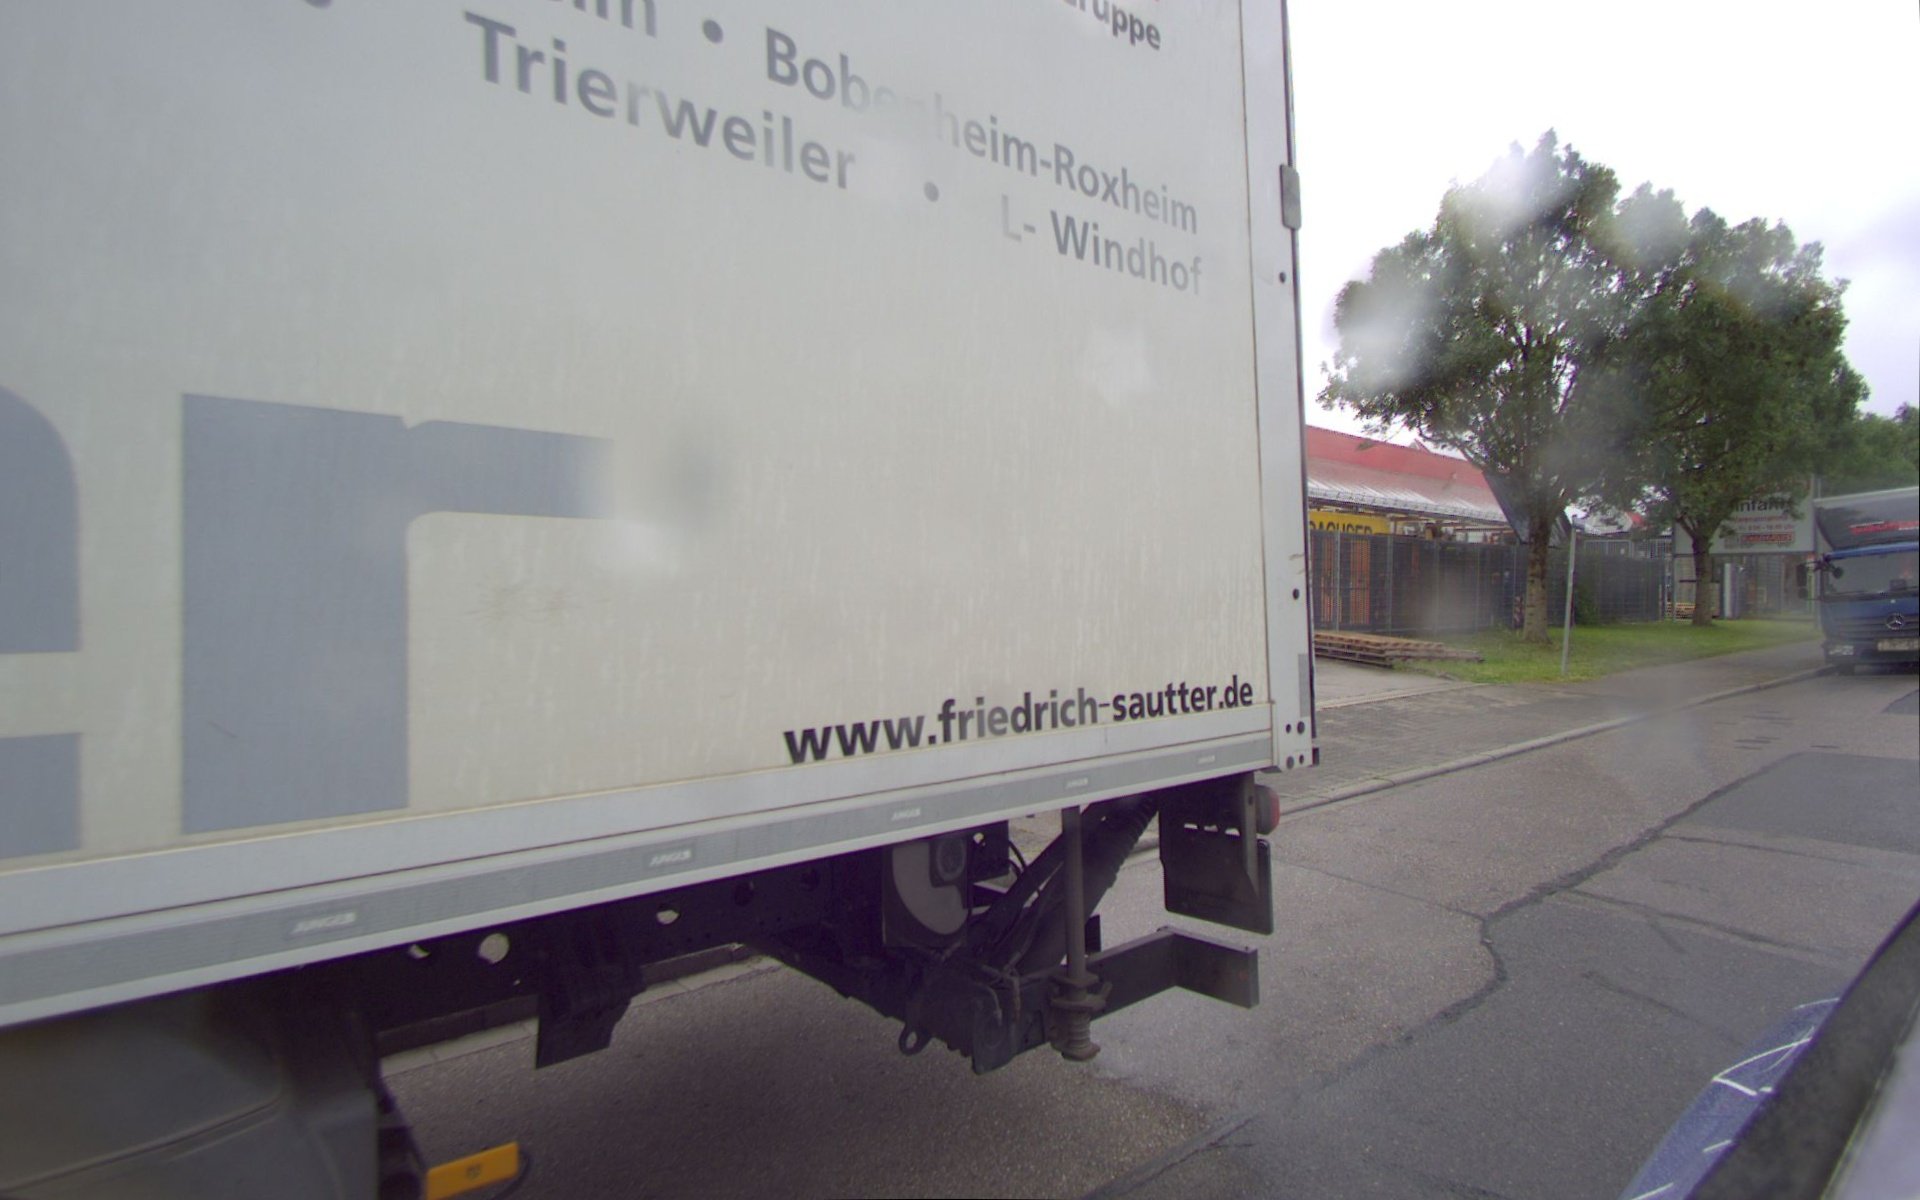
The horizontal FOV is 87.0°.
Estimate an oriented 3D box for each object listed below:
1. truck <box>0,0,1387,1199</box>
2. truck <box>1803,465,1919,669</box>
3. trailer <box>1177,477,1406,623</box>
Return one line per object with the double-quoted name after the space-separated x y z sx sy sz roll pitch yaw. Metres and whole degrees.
-3.210 -0.489 0.961 9.134 3.838 2.746 -1 -1 -40 "truck"
20.431 -0.628 21.366 7.869 3.740 2.675 0 -2 -41 "truck"
11.335 -1.533 33.954 9.307 4.296 2.972 -1 1 -41 "trailer"
